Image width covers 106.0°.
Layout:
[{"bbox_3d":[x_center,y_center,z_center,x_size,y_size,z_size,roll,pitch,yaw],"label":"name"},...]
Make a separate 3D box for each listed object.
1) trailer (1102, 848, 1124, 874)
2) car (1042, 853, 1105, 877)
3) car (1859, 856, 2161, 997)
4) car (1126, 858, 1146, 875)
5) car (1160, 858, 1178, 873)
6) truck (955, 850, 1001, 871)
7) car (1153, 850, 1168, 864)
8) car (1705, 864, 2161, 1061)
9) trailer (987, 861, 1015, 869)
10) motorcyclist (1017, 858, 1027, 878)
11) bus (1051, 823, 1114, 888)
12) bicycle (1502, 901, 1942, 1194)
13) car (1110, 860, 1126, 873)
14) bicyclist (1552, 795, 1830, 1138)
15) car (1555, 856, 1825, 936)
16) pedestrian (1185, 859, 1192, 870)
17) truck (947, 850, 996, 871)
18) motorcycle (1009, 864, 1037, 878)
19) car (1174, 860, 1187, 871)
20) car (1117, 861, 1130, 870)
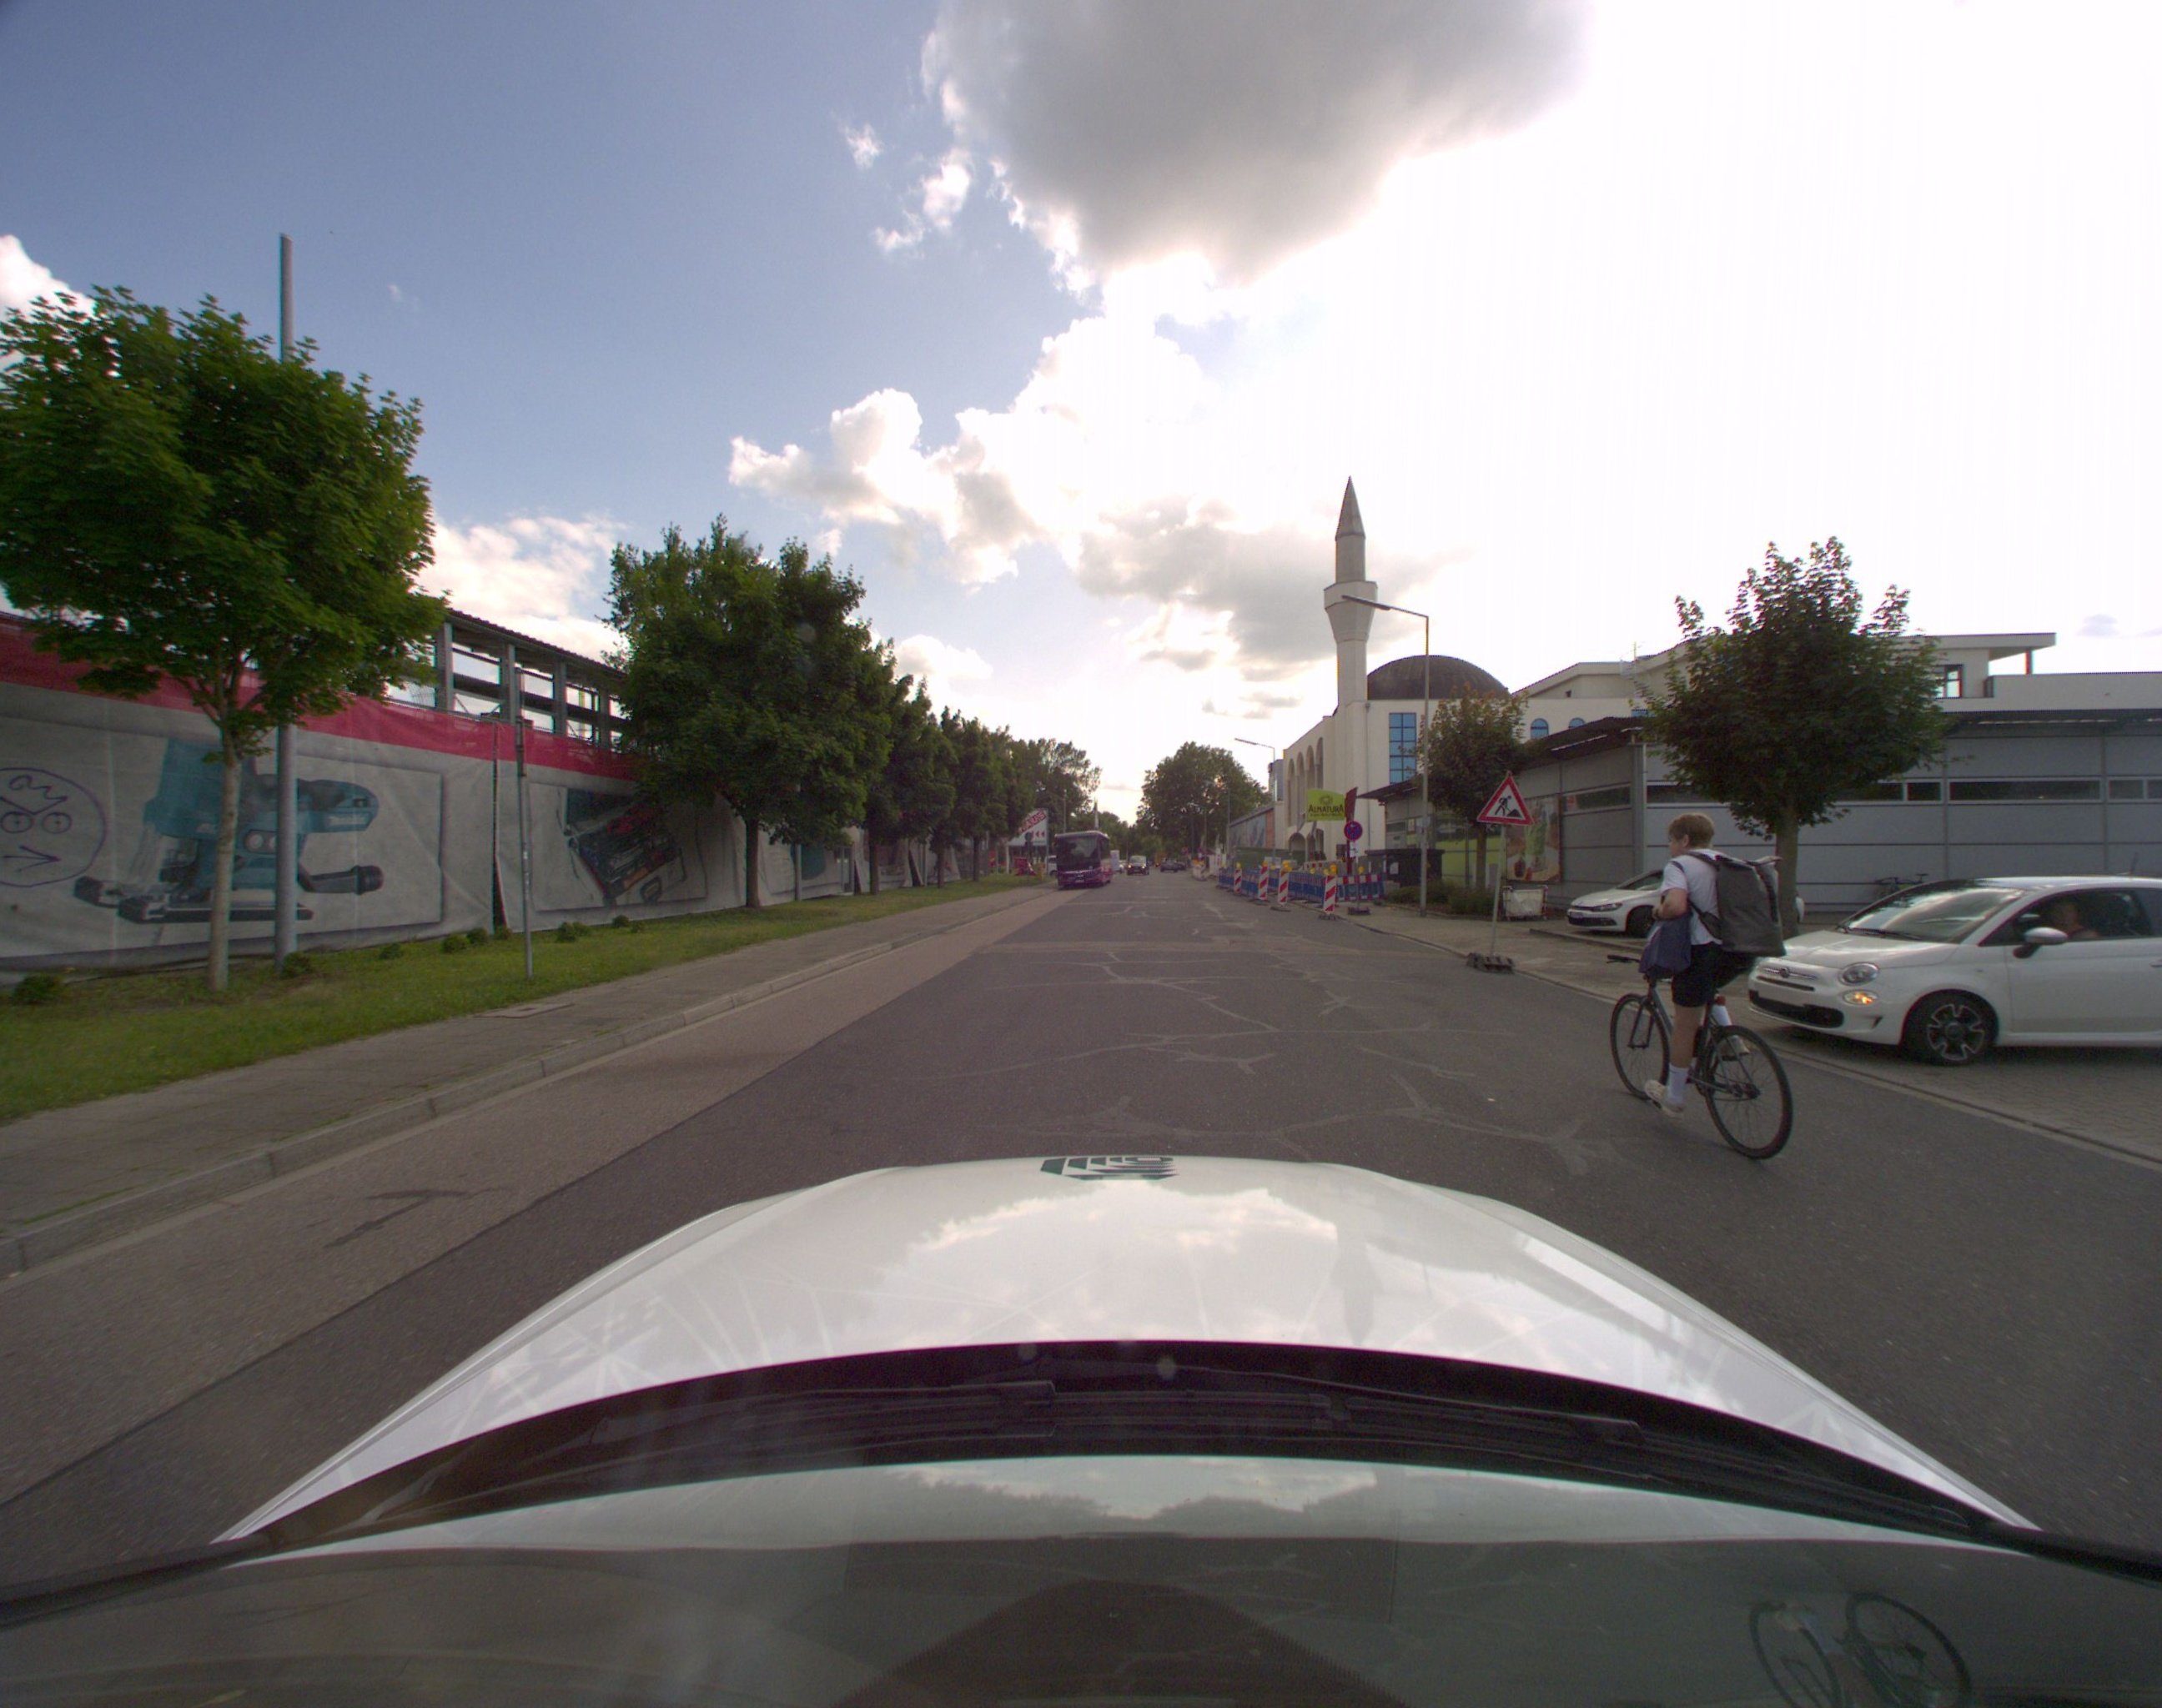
[{"bbox_3d":[3.640,0.807,91.531,2.130,2.783,4.709,-2,-1,4],"label":"trailer"},{"bbox_3d":[-0.577,0.903,68.023,4.969,1.949,1.998,0,0,10],"label":"car"},{"bbox_3d":[11.988,0.764,9.302,4.152,1.430,1.812,-1,-1,12],"label":"car"},{"bbox_3d":[5.432,1.232,80.068,1.860,1.630,4.132,0,0,4],"label":"car"},{"bbox_3d":[10.589,1.402,98.350,1.954,1.815,4.279,0,0,3],"label":"car"},{"bbox_3d":[-13.137,0.848,103.894,5.521,2.594,1.781,0,-2,5],"label":"truck"},{"bbox_3d":[14.928,0.560,152.837,2.191,2.578,6.404,0,0,0],"label":"car"},{"bbox_3d":[7.964,0.868,7.141,3.579,1.470,1.692,-1,-1,8],"label":"car"},{"bbox_3d":[-11.790,1.575,120.599,3.793,1.191,1.720,0,0,10],"label":"trailer"},{"bbox_3d":[-4.961,1.180,68.812,0.671,1.723,0.996,-1,-1,5],"label":"motorcyclist"},{"bbox_3d":[0.343,0.153,51.762,2.650,3.423,13.235,-4,-1,5],"label":"bus"},{"bbox_3d":[3.603,0.956,5.031,0.794,1.180,2.629,1,-1,4],"label":"bicycle"},{"bbox_3d":[4.679,1.582,102.273,1.757,1.479,4.239,-3,-1,4],"label":"car"},{"bbox_3d":[3.601,0.598,4.944,0.803,1.792,1.208,2,-1,4],"label":"bicyclist"},{"bbox_3d":[12.445,0.832,16.867,4.088,1.463,1.990,-1,-1,1],"label":"car"},{"bbox_3d":[18.991,1.813,143.978,1.001,1.849,1.224,0,-1,-13],"label":"pedestrian"},{"bbox_3d":[-13.518,0.806,100.802,5.725,2.594,1.818,0,-2,6],"label":"truck"},{"bbox_3d":[-4.858,1.437,68.806,2.210,1.214,0.996,-1,-1,5],"label":"motorcycle"},{"bbox_3d":[14.170,1.617,116.450,1.799,1.391,4.596,2,0,6],"label":"car"},{"bbox_3d":[6.682,1.792,127.020,1.701,1.420,4.338,-3,-1,6],"label":"car"}]
